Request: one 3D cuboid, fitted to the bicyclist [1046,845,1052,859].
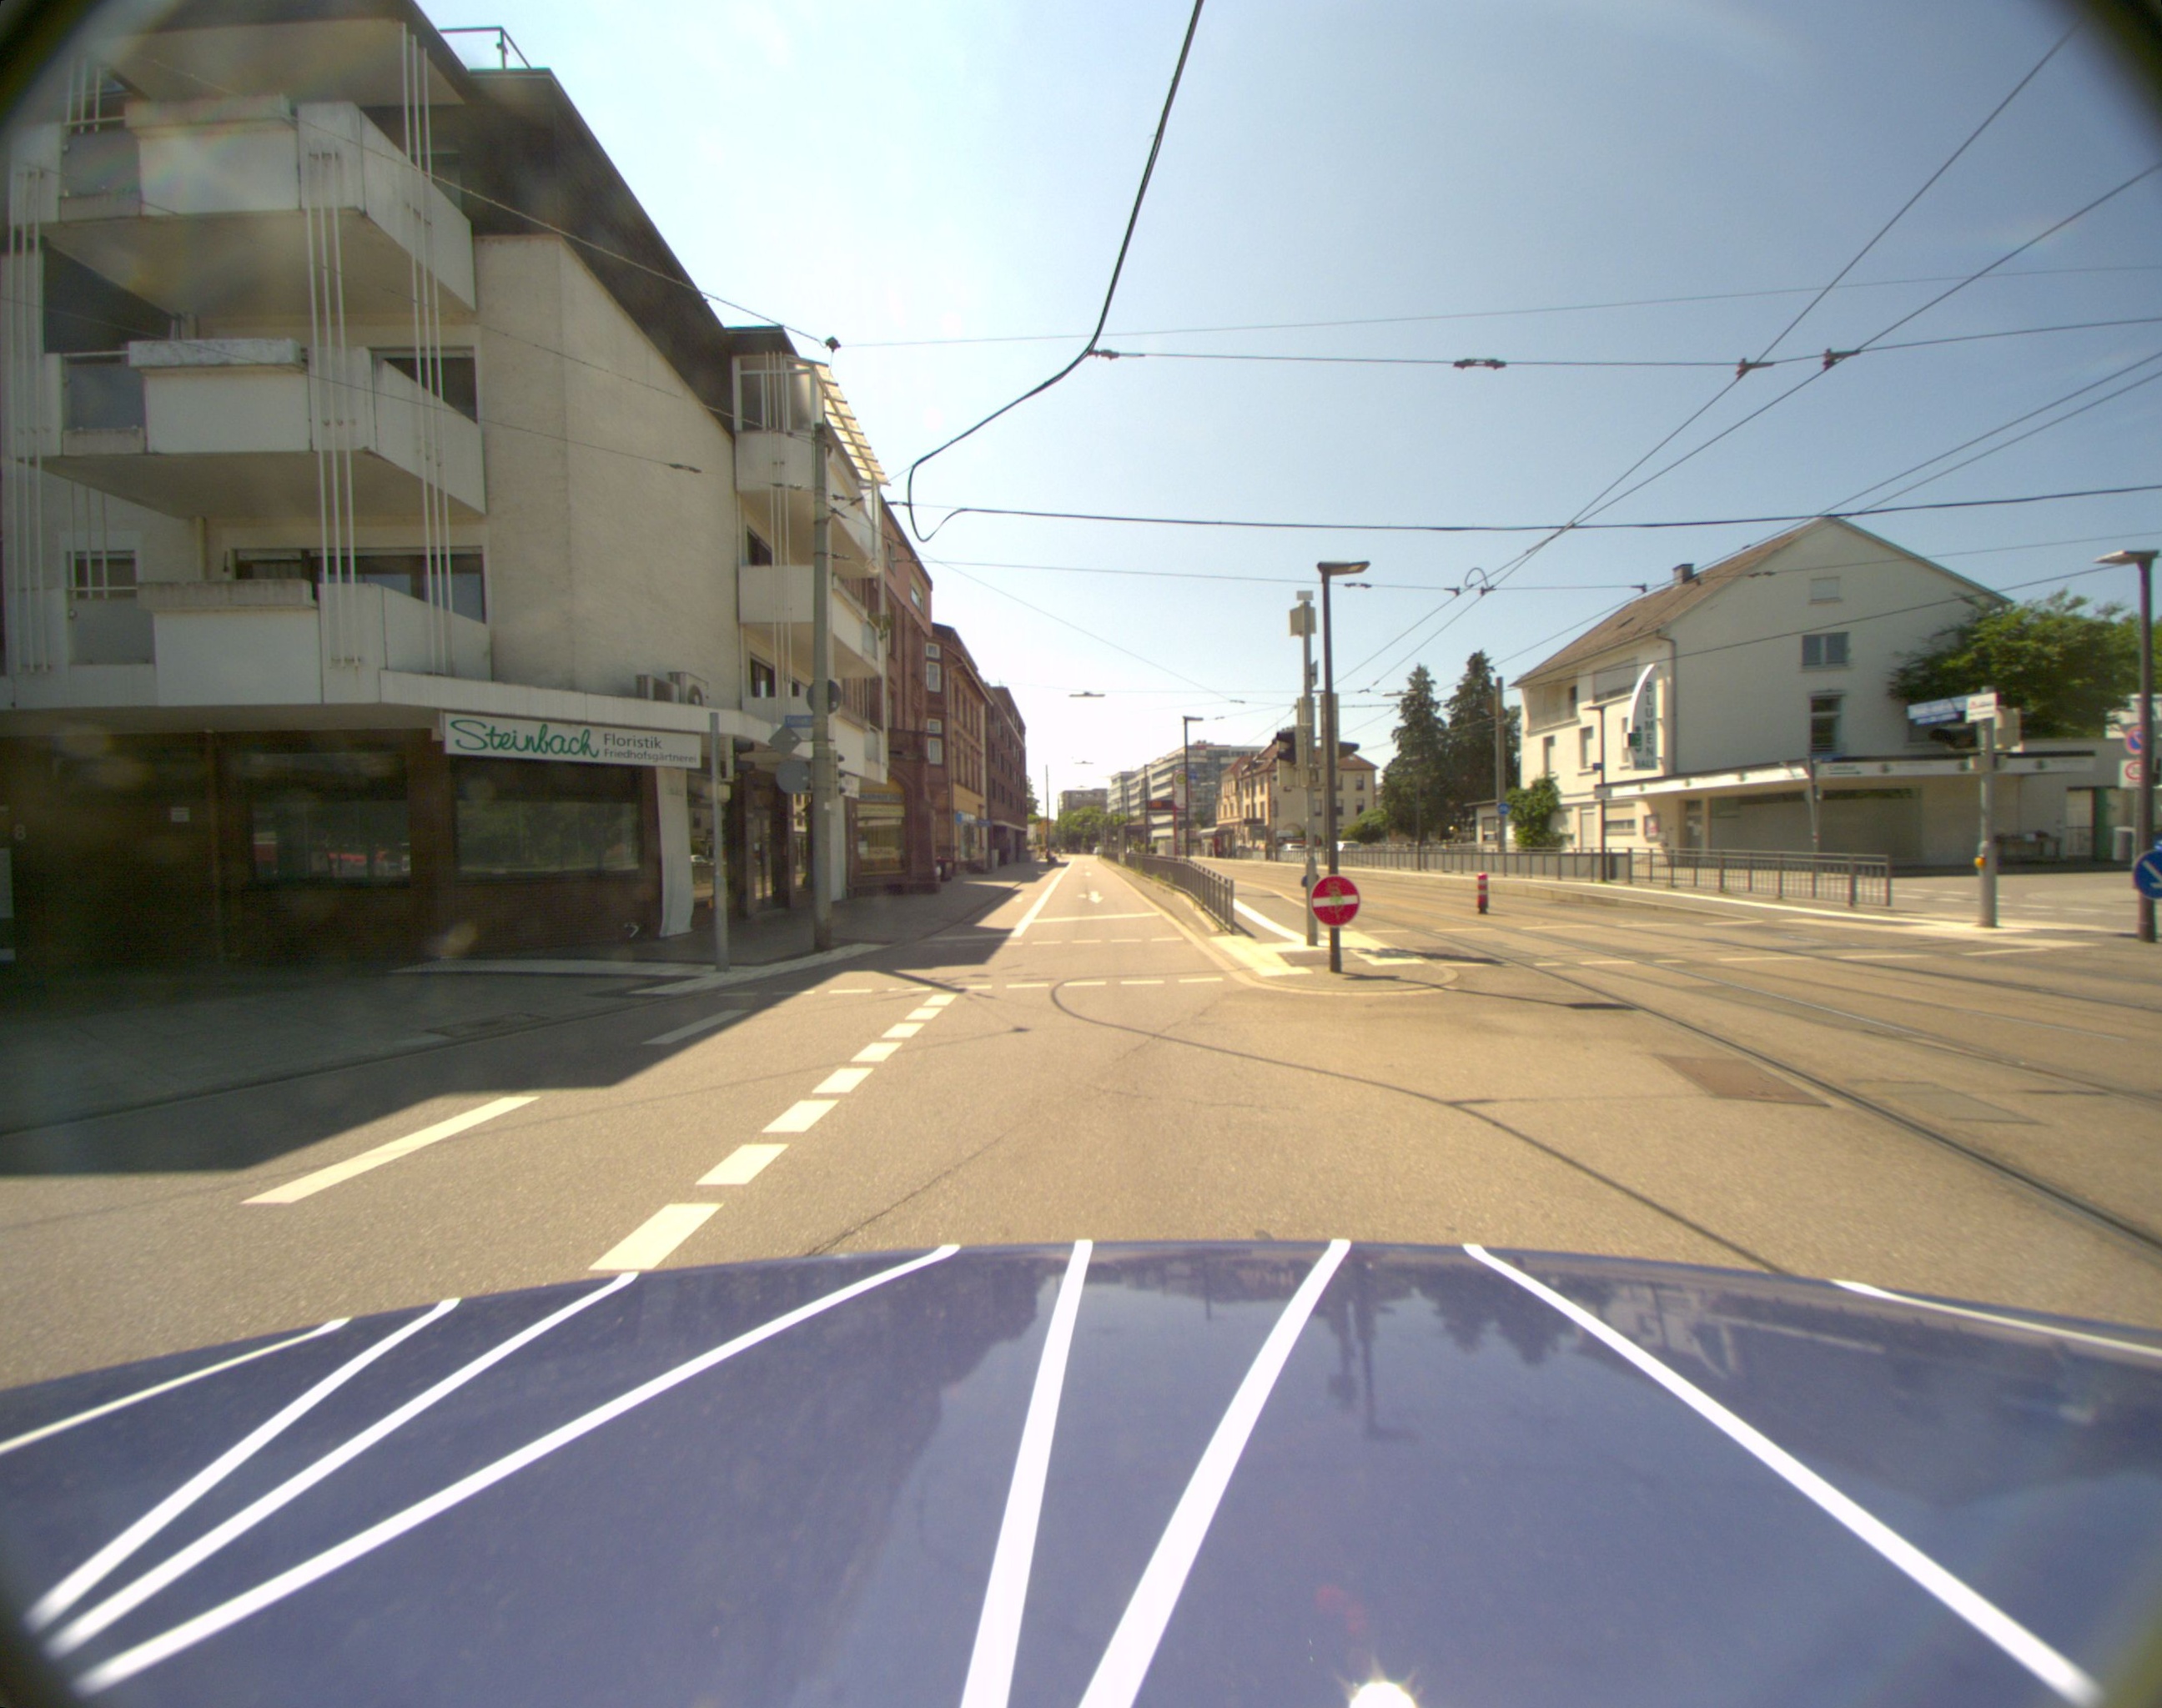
[{"bbox_3d":[-3.990,-0.306,95.116,0.671,1.712,0.928,-1,1,5],"label":"bicyclist"}]

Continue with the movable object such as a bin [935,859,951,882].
[{"bbox_3d":[-6.406,0.757,35.244,0.649,1.042,0.559,1,1,0],"label":"movable object such as a bin"}]

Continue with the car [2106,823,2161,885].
[{"bbox_3d":[27.269,-0.054,17.731,3.954,1.444,1.824,-1,1,5],"label":"car"}]

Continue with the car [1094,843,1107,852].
[{"bbox_3d":[4.286,-1.478,169.382,1.862,1.806,4.693,-2,1,-11],"label":"car"}]

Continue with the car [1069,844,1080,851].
[{"bbox_3d":[-1.824,-1.891,209.261,2.001,1.827,3.995,-2,1,-12],"label":"car"}]

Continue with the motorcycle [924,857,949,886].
[{"bbox_3d":[-6.129,0.734,32.218,0.528,1.142,1.880,-1,1,5],"label":"motorcycle"}]

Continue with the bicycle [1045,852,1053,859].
[{"bbox_3d":[-3.994,0.148,94.910,0.689,0.793,1.908,-1,1,6],"label":"bicycle"}]

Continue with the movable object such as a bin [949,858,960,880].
[{"bbox_3d":[-6.066,0.708,36.475,0.376,1.042,0.657,1,1,0],"label":"movable object such as a bin"}]

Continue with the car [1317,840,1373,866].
[{"bbox_3d":[16.393,-0.076,47.385,1.823,1.481,4.497,-2,1,-1],"label":"car"}]

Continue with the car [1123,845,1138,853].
[{"bbox_3d":[9.313,-0.896,142.744,1.824,1.459,4.619,-1,1,-9],"label":"car"}]

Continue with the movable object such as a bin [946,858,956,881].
[{"bbox_3d":[-6.123,0.727,35.827,0.376,1.042,0.559,1,1,0],"label":"movable object such as a bin"}]

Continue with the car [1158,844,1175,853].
[{"bbox_3d":[13.435,-0.897,119.311,1.823,1.388,4.172,-2,1,-7],"label":"car"}]

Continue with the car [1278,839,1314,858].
[{"bbox_3d":[17.051,-0.454,60.391,1.822,1.355,4.051,-1,1,2],"label":"car"}]
